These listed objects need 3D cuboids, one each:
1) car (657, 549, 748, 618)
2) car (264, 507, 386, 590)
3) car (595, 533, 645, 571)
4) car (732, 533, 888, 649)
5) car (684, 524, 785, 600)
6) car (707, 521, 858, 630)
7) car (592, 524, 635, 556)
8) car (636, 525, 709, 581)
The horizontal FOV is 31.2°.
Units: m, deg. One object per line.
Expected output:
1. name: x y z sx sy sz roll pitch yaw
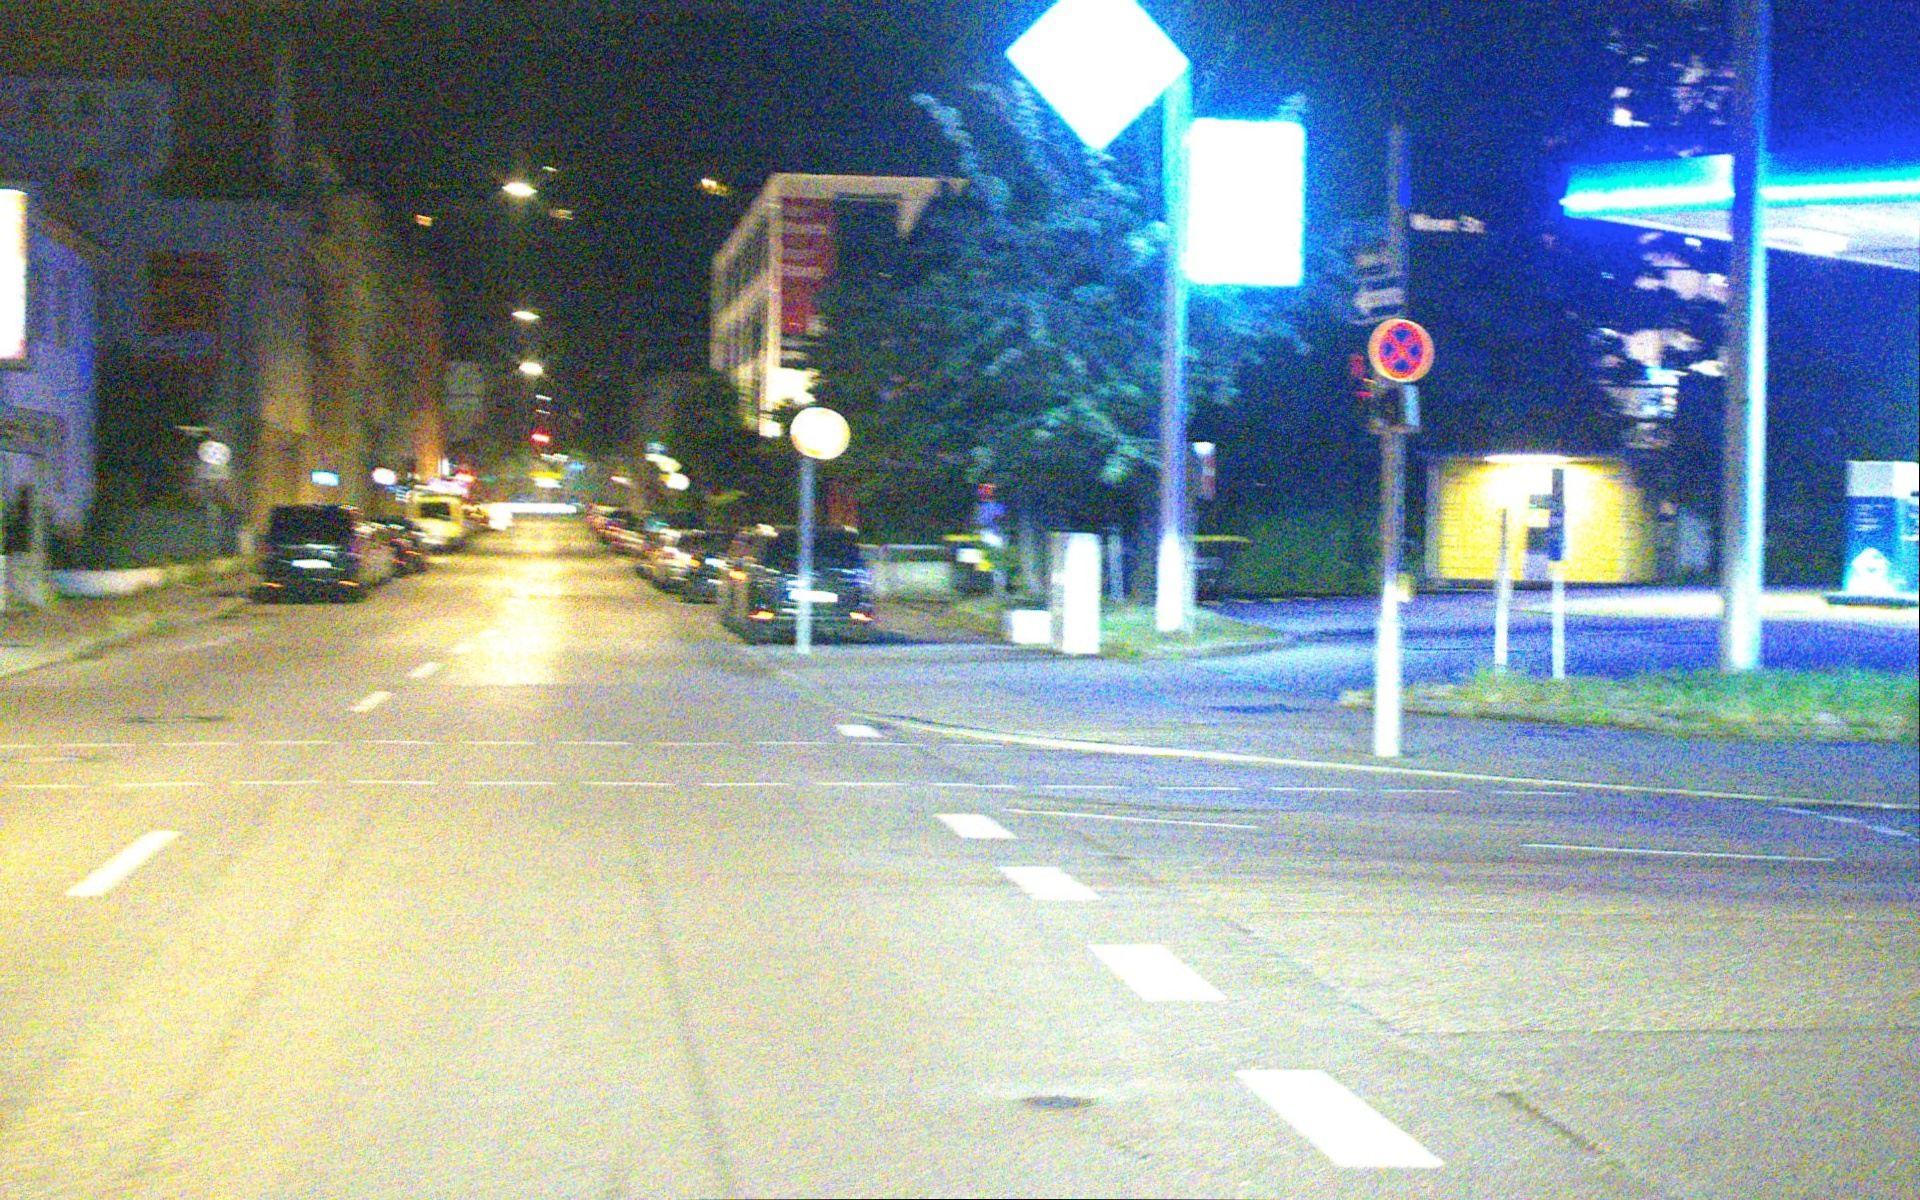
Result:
1. car: -5.931 -0.374 78.855 1.993 1.515 4.001 1 0 -5
2. car: -12.139 -0.972 65.907 1.993 1.497 4.001 1 0 -6
3. car: -14.198 -1.984 143.729 1.993 1.515 4.001 1 0 -5
4. car: -2.153 -0.158 48.310 1.993 1.511 4.001 2 1 -5
5. car: -4.744 -0.778 71.872 1.993 1.515 4.001 1 0 -5
6. car: -2.822 -0.409 53.803 1.993 1.590 4.001 2 1 -8
7. car: -16.783 -2.902 166.683 1.993 1.515 4.001 1 0 -5
8. car: -8.126 -1.307 96.993 1.993 1.515 4.001 1 0 -5
